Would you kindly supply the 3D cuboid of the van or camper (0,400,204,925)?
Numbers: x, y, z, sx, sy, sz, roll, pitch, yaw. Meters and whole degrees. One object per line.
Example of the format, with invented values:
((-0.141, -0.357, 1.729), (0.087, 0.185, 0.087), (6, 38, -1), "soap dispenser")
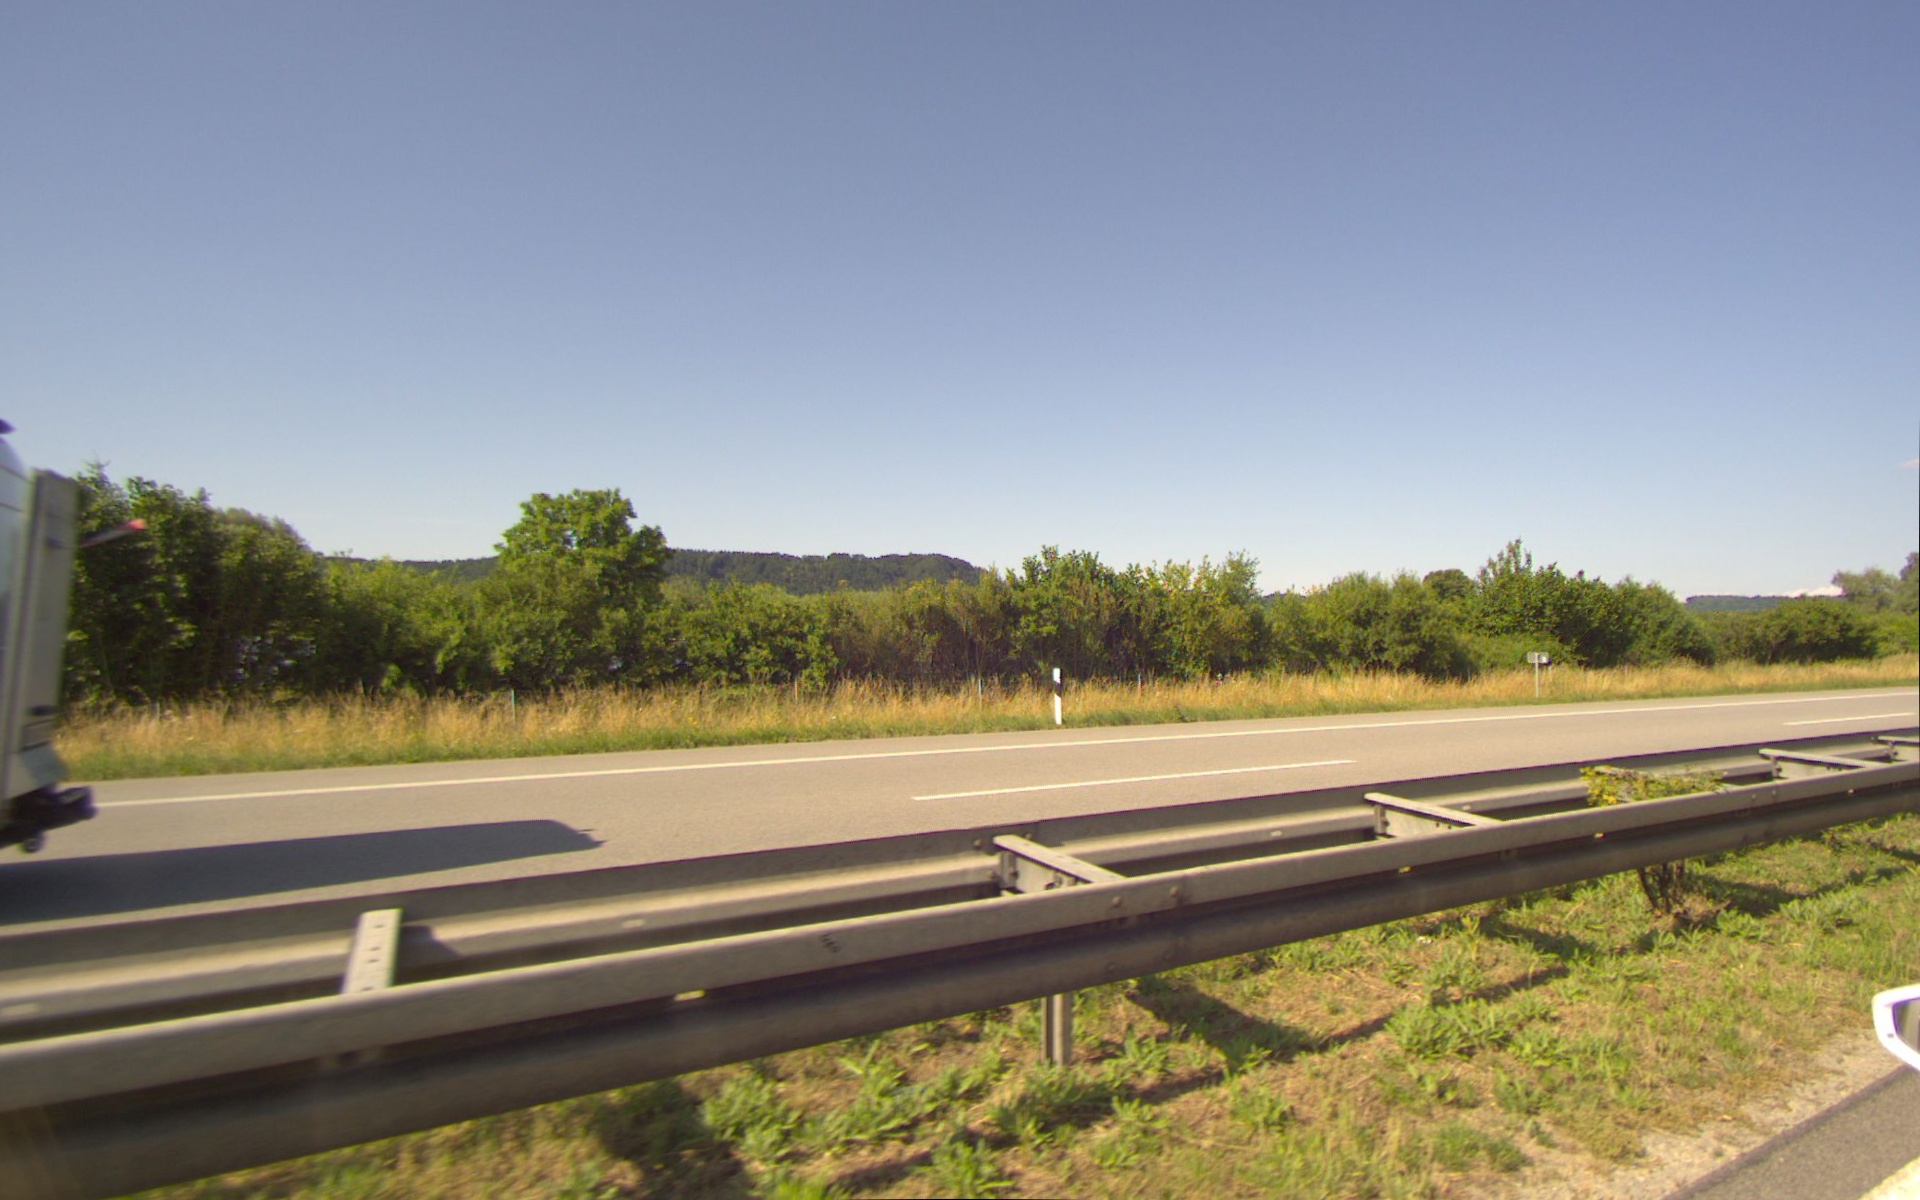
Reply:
((-7.754, 0.251, 4.137), (7.145, 2.529, 1.984), (2, -3, -31), "van or camper")
